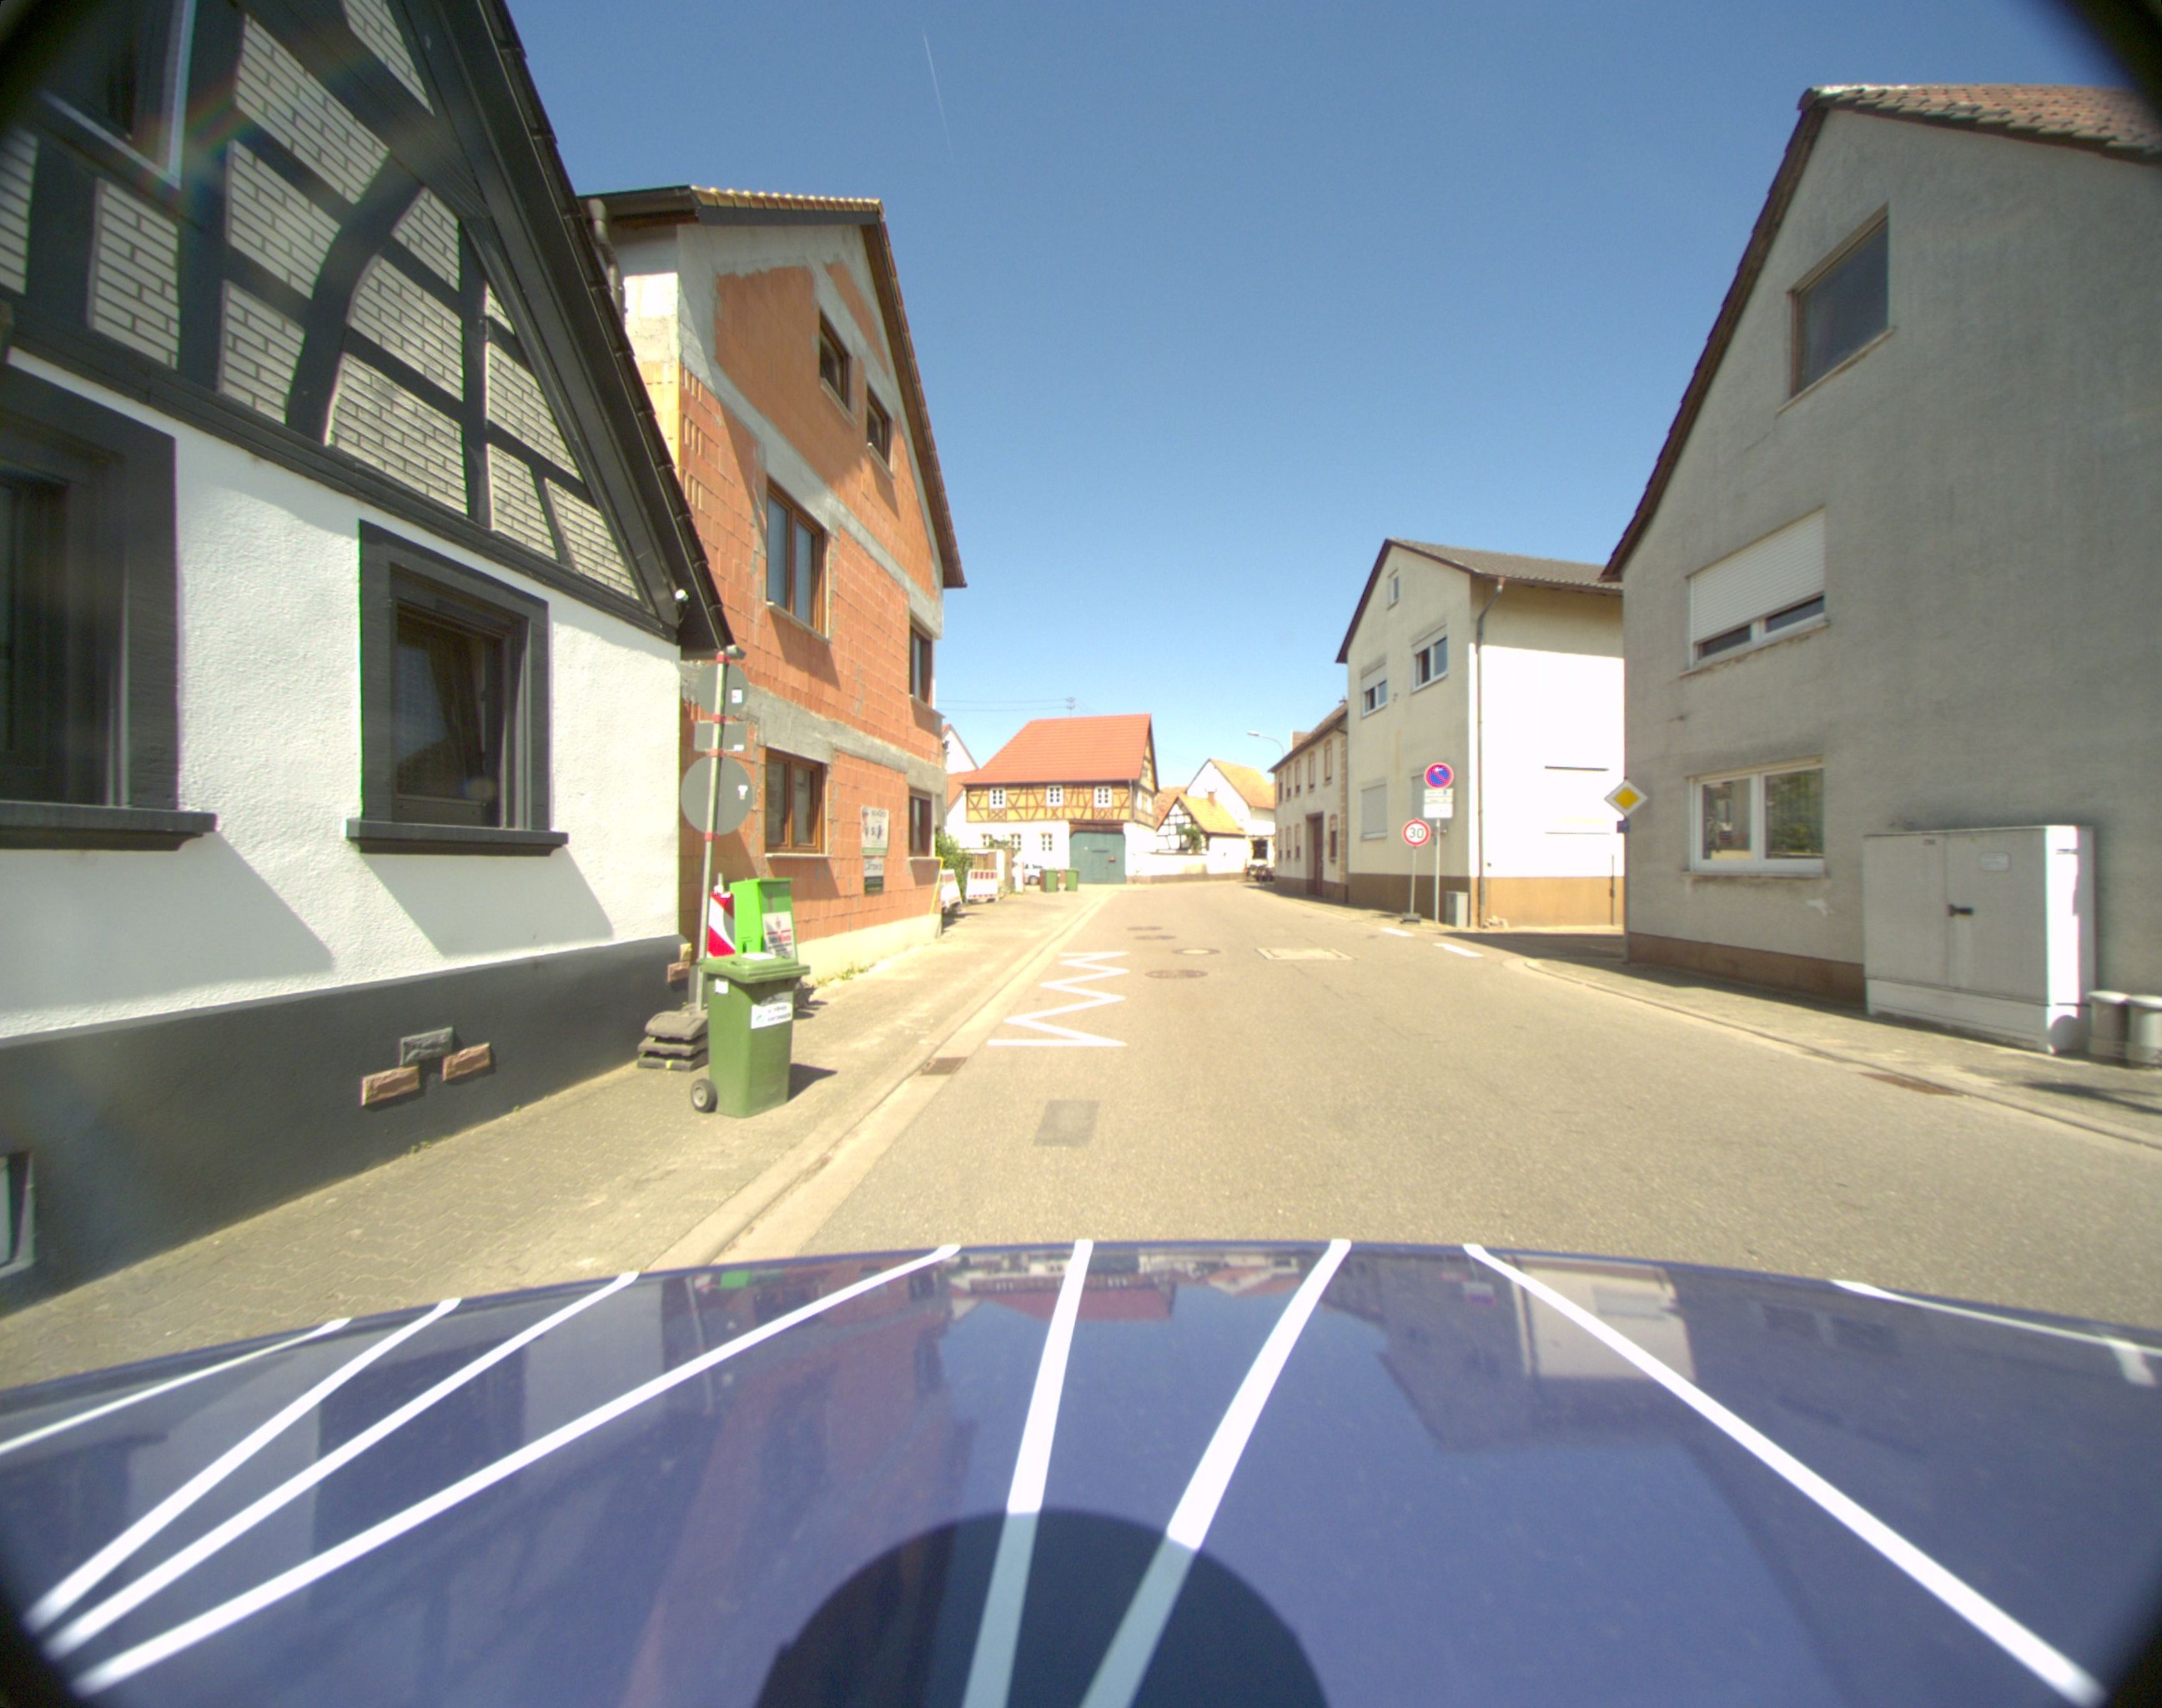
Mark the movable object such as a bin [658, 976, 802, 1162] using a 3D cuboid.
[{"bbox_3d":[-2.074,1.235,4.523,0.538,0.908,0.552,0,0,22],"label":"movable object such as a bin"}]

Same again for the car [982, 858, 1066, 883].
[{"bbox_3d":[-3.500,0.984,47.055,4.758,1.443,2.003,0,0,16],"label":"car"}]

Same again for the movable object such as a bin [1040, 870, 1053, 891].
[{"bbox_3d":[-1.577,1.228,34.998,0.465,0.965,0.497,0,0,12],"label":"movable object such as a bin"}]

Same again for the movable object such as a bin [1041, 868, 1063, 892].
[{"bbox_3d":[-1.306,1.149,33.694,0.763,1.066,0.671,0,0,-27],"label":"movable object such as a bin"}]

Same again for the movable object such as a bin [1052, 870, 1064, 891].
[{"bbox_3d":[-1.079,1.216,34.998,0.445,0.944,0.463,0,1,13],"label":"movable object such as a bin"}]

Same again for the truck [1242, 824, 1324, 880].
[{"bbox_3d":[14.966,-0.139,55.590,2.697,3.728,10.891,0,0,32],"label":"truck"}]

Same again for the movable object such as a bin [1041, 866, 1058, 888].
[{"bbox_3d":[-1.576,1.158,38.111,0.721,1.075,0.756,0,0,10],"label":"movable object such as a bin"}]

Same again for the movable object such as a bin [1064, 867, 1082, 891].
[{"bbox_3d":[-0.370,1.161,35.800,0.687,1.085,0.638,0,0,13],"label":"movable object such as a bin"}]
